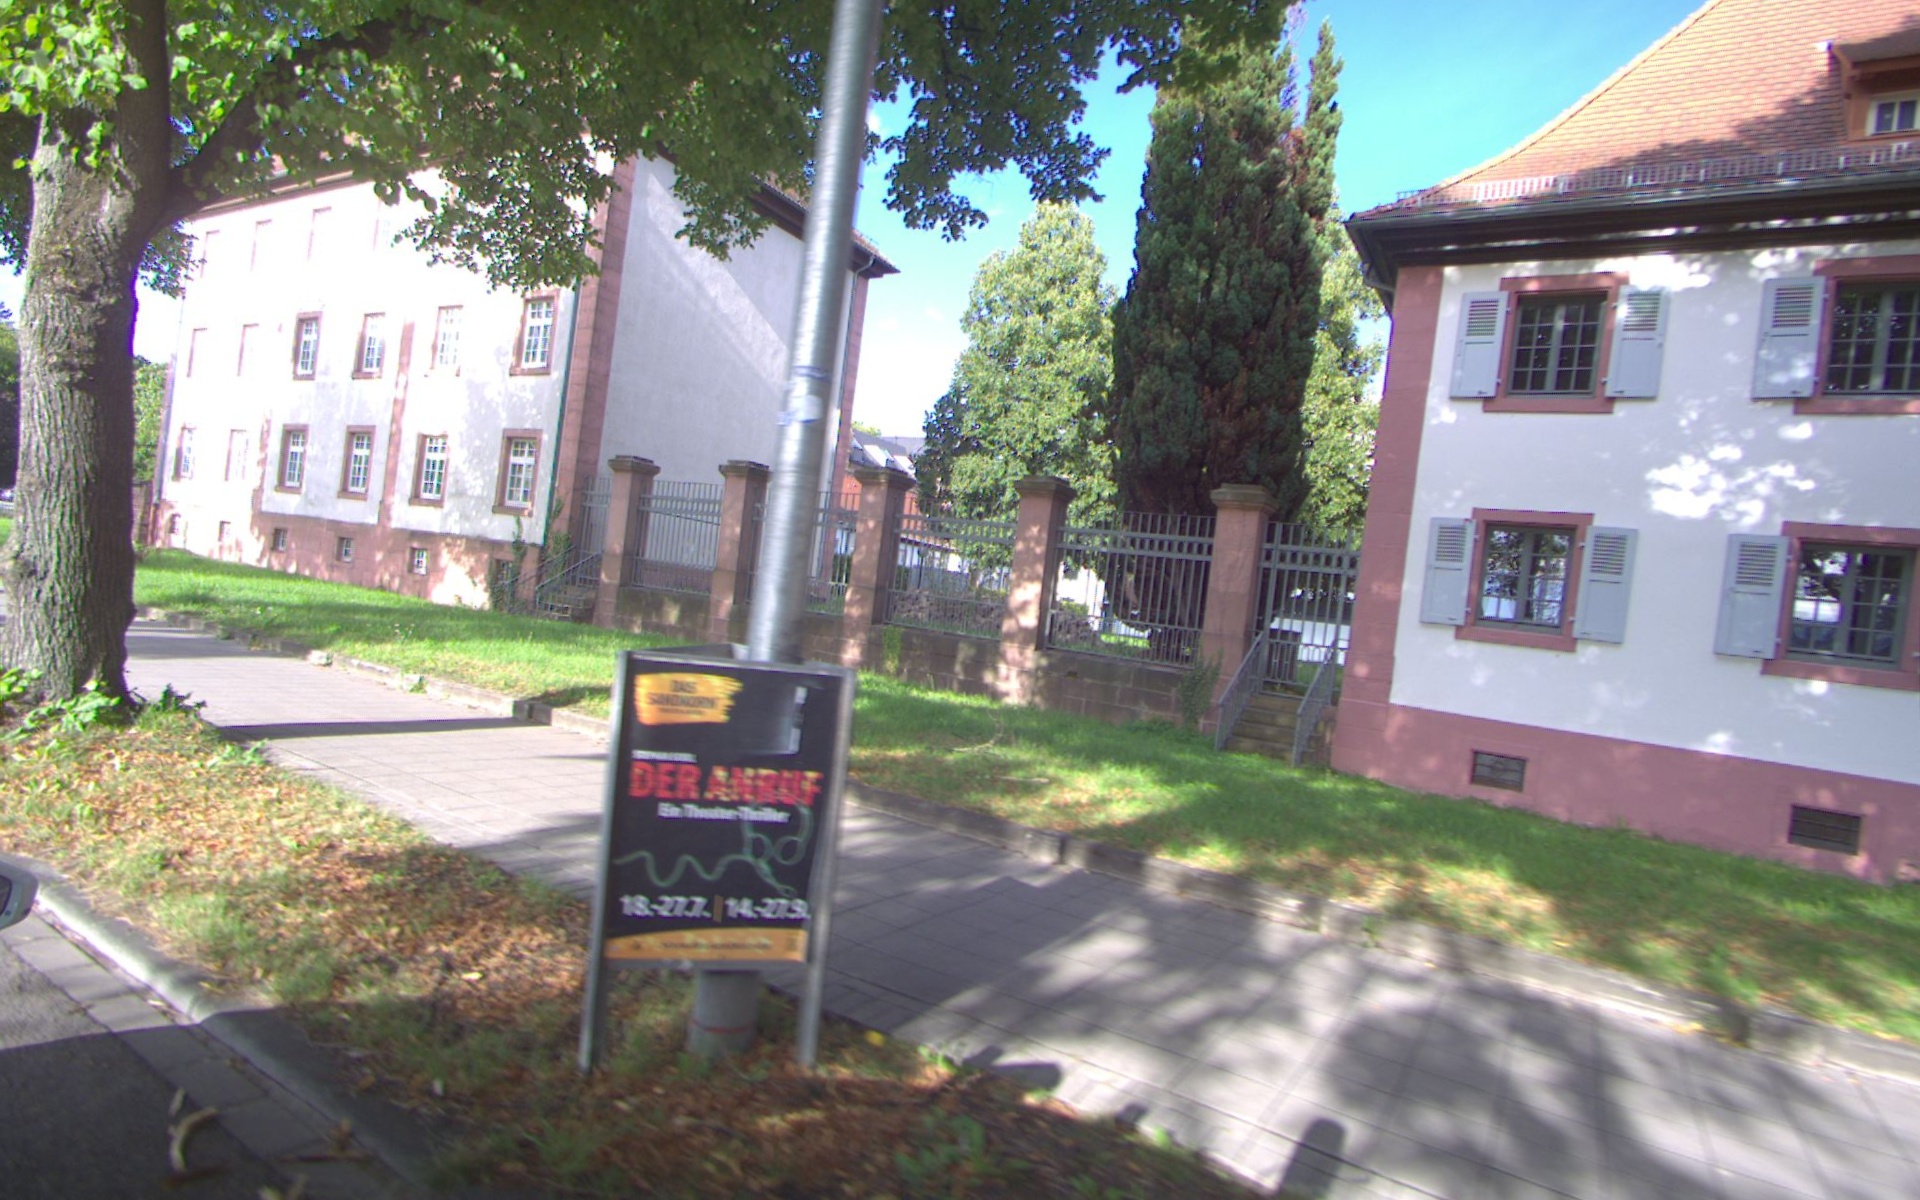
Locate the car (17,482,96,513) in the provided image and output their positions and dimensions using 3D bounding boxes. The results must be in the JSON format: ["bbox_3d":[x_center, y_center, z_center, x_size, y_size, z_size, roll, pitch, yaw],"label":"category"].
[{"bbox_3d":[-68.296,-7.726,76.076,1.966,1.571,3.992,7,0,31],"label":"car"}]

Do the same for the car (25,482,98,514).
[{"bbox_3d":[-57.058,-6.467,63.888,3.928,1.460,1.998,7,0,25],"label":"car"}]
